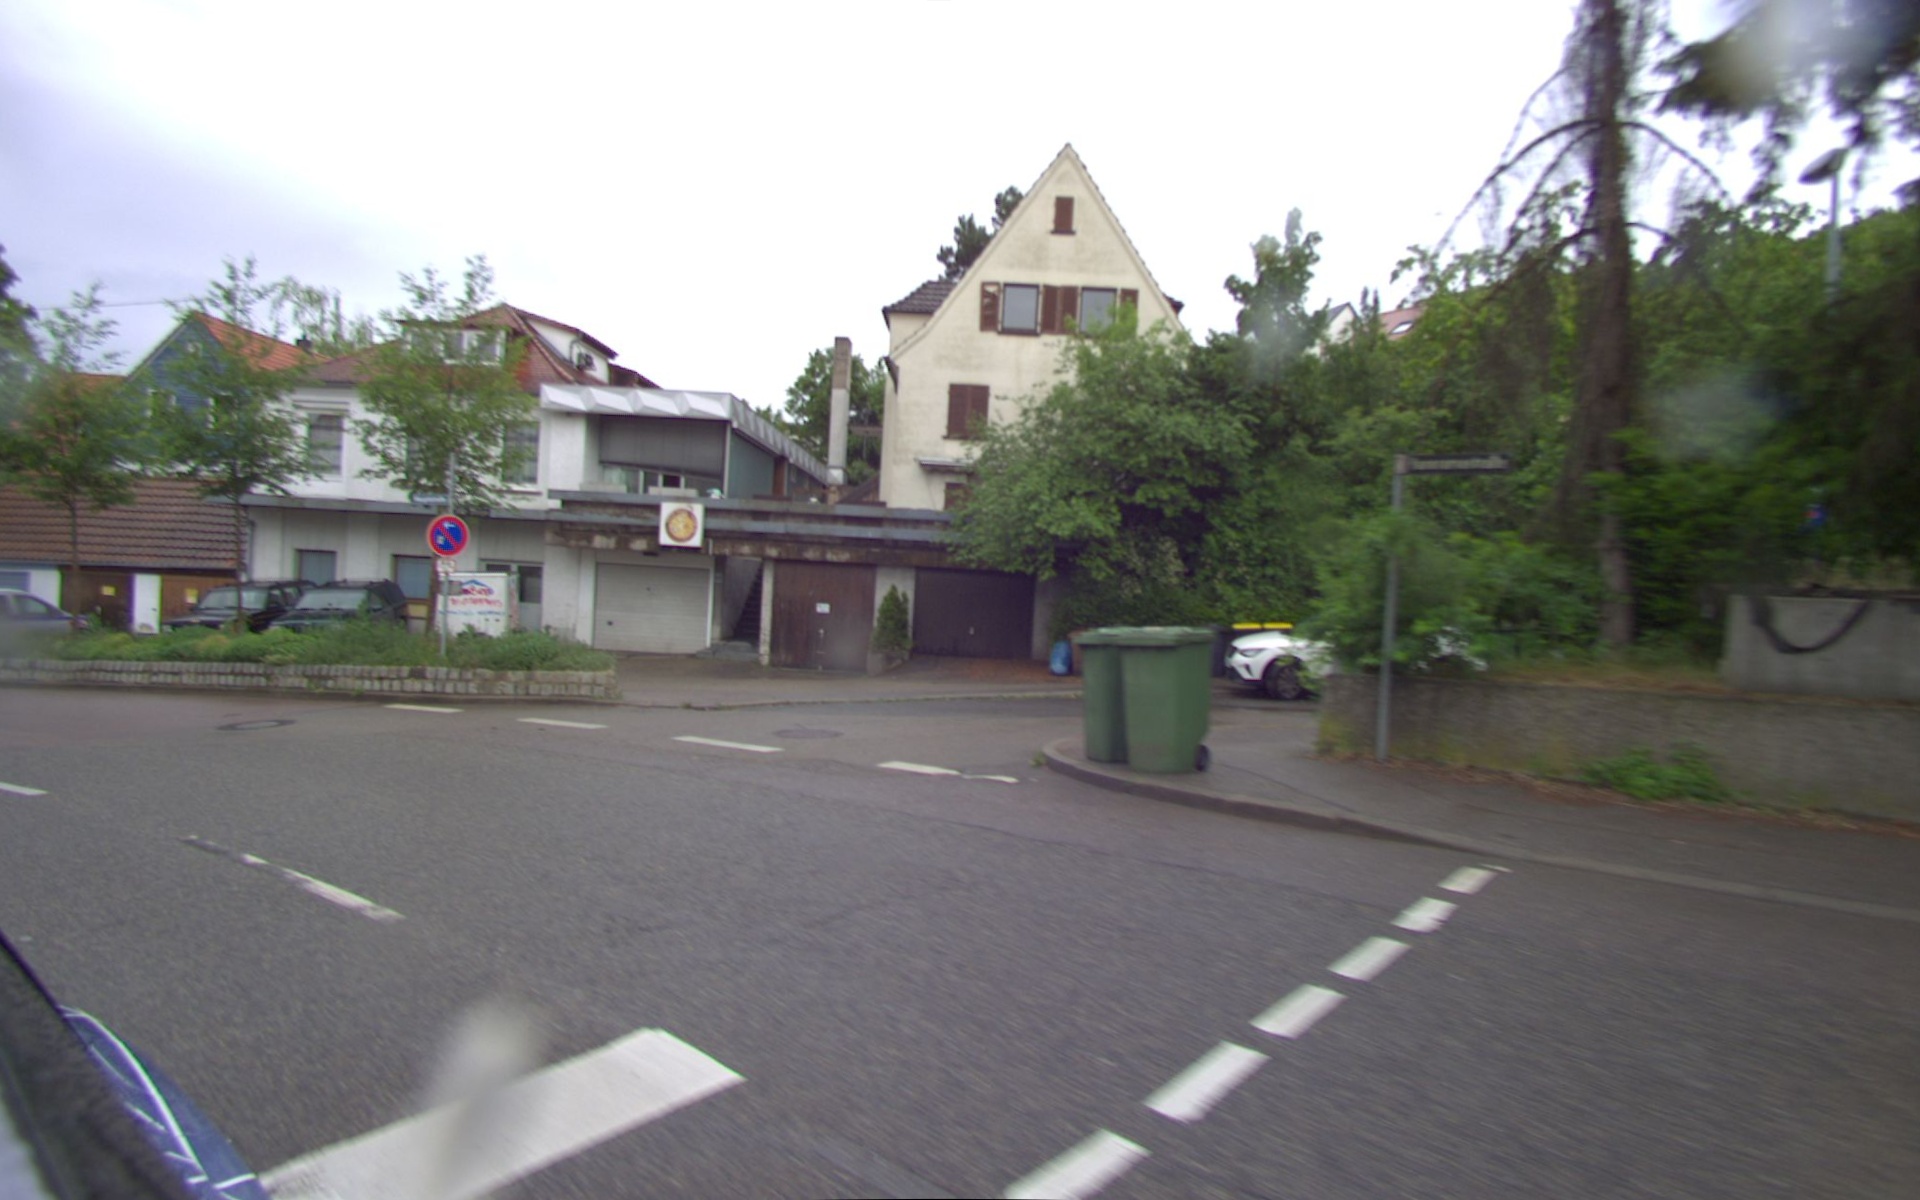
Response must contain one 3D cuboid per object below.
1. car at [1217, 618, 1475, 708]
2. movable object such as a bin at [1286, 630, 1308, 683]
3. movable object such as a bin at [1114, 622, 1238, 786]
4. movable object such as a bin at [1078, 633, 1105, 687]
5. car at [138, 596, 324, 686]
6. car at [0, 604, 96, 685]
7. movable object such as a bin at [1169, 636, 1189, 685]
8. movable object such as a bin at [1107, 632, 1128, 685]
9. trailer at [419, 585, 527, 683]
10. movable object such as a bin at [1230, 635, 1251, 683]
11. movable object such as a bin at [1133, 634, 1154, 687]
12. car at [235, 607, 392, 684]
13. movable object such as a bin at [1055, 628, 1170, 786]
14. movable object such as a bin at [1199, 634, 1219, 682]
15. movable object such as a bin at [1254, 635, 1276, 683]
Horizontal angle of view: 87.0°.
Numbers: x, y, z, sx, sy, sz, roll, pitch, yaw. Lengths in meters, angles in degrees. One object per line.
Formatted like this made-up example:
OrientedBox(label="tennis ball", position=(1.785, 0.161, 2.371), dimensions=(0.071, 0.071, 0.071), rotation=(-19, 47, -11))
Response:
OrientedBox(label="car", position=(6.324, 1.026, 16.895), dimensions=(3.698, 1.340, 1.547), rotation=(-1, 1, 4))
OrientedBox(label="movable object such as a bin", position=(6.586, 1.106, 19.795), dimensions=(0.367, 1.002, 0.305), rotation=(-1, 1, 14))
OrientedBox(label="movable object such as a bin", position=(1.572, 0.726, 7.415), dimensions=(0.551, 1.096, 0.708), rotation=(-1, 1, -27))
OrientedBox(label="movable object such as a bin", position=(2.660, 1.209, 20.508), dimensions=(0.495, 1.072, 0.365), rotation=(-1, 1, 15))
OrientedBox(label="car", position=(-16.905, 0.869, 23.735), dimensions=(1.771, 1.787, 4.097), rotation=(-1, 2, -7))
OrientedBox(label="car", position=(-23.028, 1.060, 23.665), dimensions=(1.974, 1.813, 4.115), rotation=(-1, 1, 4))
OrientedBox(label="movable object such as a bin", position=(4.420, 1.216, 20.411), dimensions=(0.379, 0.950, 0.320), rotation=(-1, 1, 15))
OrientedBox(label="movable object such as a bin", position=(3.225, 1.183, 20.674), dimensions=(0.385, 1.053, 0.347), rotation=(-1, 1, 15))
OrientedBox(label="trailer", position=(-11.438, 0.743, 24.011), dimensions=(1.920, 2.118, 3.974), rotation=(0, -1, -20))
OrientedBox(label="movable object such as a bin", position=(5.560, 1.165, 20.070), dimensions=(0.391, 0.922, 0.294), rotation=(-1, 1, 14))
OrientedBox(label="movable object such as a bin", position=(3.697, 1.212, 20.372), dimensions=(0.379, 1.047, 0.300), rotation=(-1, 1, 15))
OrientedBox(label="car", position=(-14.620, 0.974, 23.108), dimensions=(1.810, 1.496, 3.352), rotation=(-1, 1, -9))
OrientedBox(label="movable object such as a bin", position=(1.204, 0.816, 8.048), dimensions=(0.615, 1.148, 0.670), rotation=(-1, 1, -27))
OrientedBox(label="movable object such as a bin", position=(4.976, 1.155, 20.205), dimensions=(0.373, 0.922, 0.300), rotation=(-1, 1, 14))
OrientedBox(label="movable object such as a bin", position=(6.012, 1.160, 19.928), dimensions=(0.391, 0.922, 0.290), rotation=(-1, 1, 14))
